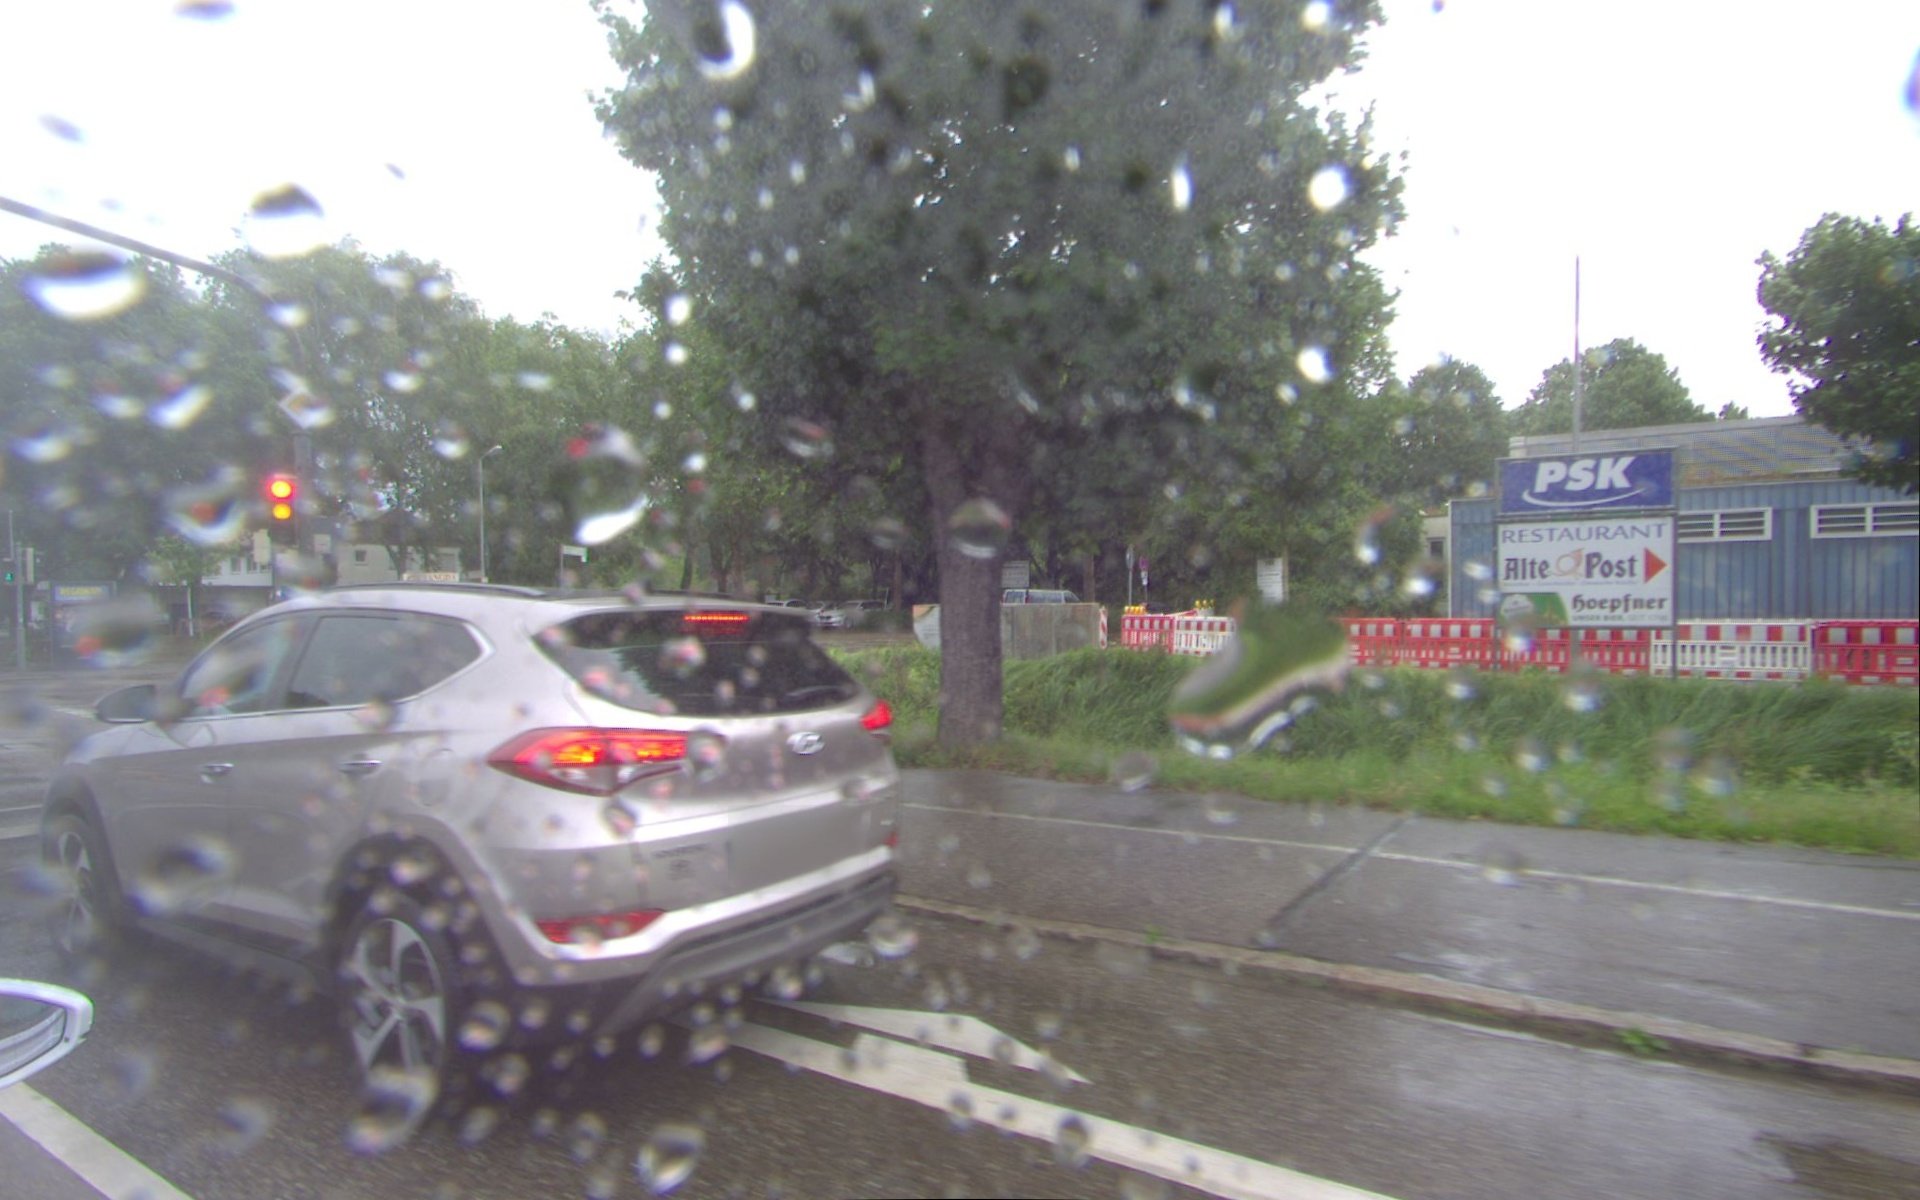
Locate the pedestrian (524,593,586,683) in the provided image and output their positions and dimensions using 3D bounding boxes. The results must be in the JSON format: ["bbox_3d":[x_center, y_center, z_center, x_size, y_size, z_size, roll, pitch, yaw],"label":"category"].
[{"bbox_3d":[-7.955,0.738,19.688,0.775,1.702,0.667,-1,4,19],"label":"pedestrian"}]

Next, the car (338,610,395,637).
[{"bbox_3d":[-33.593,1.369,56.788,1.573,1.467,3.751,0,-2,-11],"label":"car"}]

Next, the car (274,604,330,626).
[{"bbox_3d":[-45.304,1.058,68.900,3.939,1.403,1.582,-1,-2,29],"label":"car"}]

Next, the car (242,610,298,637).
[{"bbox_3d":[-38.362,1.334,55.786,1.641,1.467,3.744,1,-2,-20],"label":"car"}]

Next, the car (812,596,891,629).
[{"bbox_3d":[-5.824,0.698,54.201,1.898,1.651,4.580,-1,-2,31],"label":"car"}]

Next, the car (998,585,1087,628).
[{"bbox_3d":[4.041,0.359,48.656,4.145,1.989,1.912,1,-2,-38],"label":"car"}]

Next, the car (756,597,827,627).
[{"bbox_3d":[-9.680,0.741,57.830,1.894,1.603,4.590,-1,-2,23],"label":"car"}]

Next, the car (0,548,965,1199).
[{"bbox_3d":[-2.218,0.751,4.345,4.135,1.631,1.881,-1,-2,32],"label":"car"}]

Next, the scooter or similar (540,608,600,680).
[{"bbox_3d":[-6.933,0.765,17.822,0.317,1.246,0.954,0,1,36],"label":"scooter or similar"}]

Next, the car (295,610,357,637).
[{"bbox_3d":[-35.497,1.346,56.147,1.638,1.467,3.751,0,-2,-11],"label":"car"}]

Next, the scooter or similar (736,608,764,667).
[{"bbox_3d":[-4.359,0.773,20.802,0.553,1.192,0.284,0,1,39],"label":"scooter or similar"}]

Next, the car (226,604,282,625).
[{"bbox_3d":[-46.665,0.969,66.174,3.645,1.332,1.571,-1,-2,29],"label":"car"}]

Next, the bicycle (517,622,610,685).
[{"bbox_3d":[-7.860,1.042,19.923,0.775,1.053,1.660,-1,3,19],"label":"bicycle"}]

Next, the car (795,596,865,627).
[{"bbox_3d":[-7.282,0.692,56.518,1.894,1.603,4.590,-1,-2,23],"label":"car"}]

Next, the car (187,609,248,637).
[{"bbox_3d":[-40.596,1.300,54.822,1.641,1.467,3.744,1,-2,-20],"label":"car"}]

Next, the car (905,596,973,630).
[{"bbox_3d":[-1.033,0.690,51.056,1.697,1.617,3.649,-1,-2,34],"label":"car"}]
